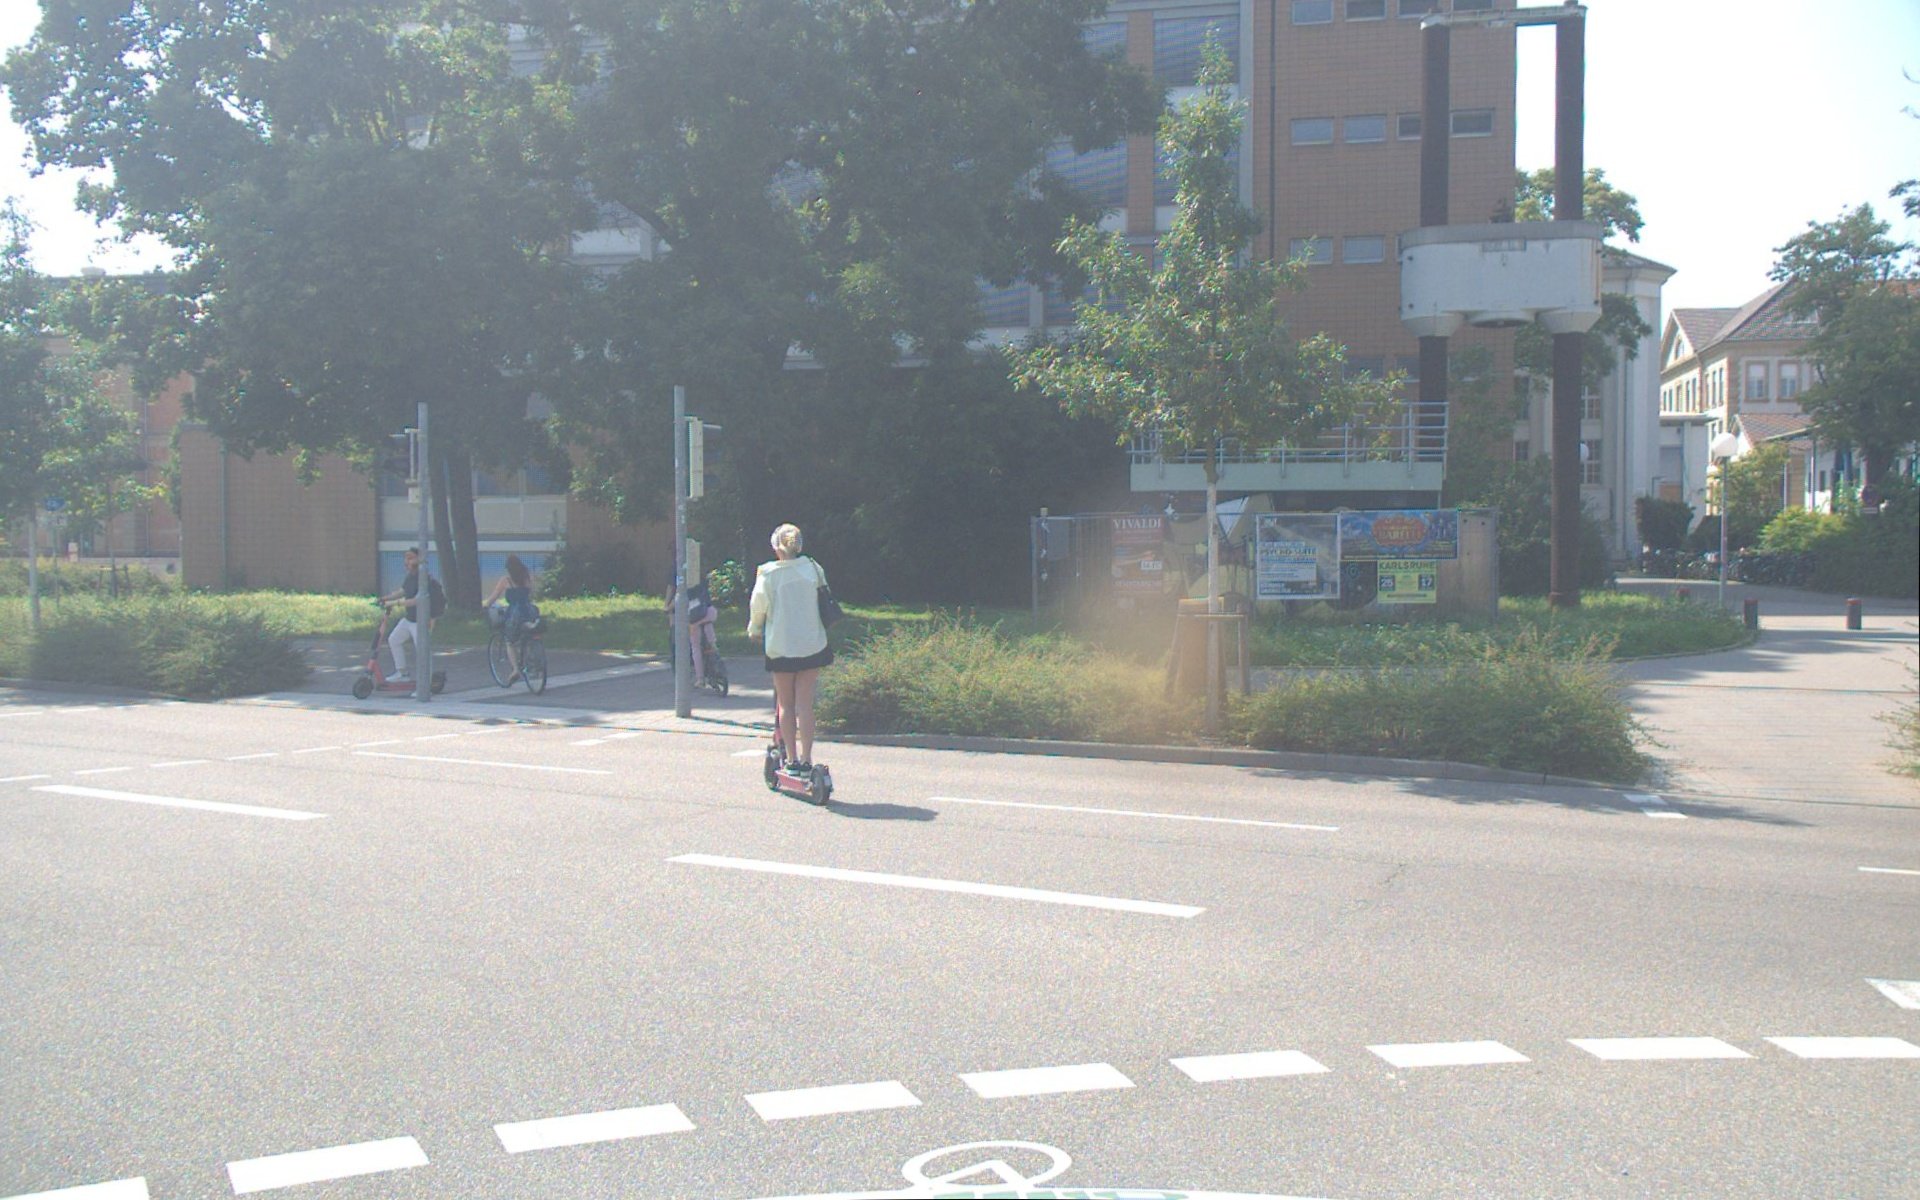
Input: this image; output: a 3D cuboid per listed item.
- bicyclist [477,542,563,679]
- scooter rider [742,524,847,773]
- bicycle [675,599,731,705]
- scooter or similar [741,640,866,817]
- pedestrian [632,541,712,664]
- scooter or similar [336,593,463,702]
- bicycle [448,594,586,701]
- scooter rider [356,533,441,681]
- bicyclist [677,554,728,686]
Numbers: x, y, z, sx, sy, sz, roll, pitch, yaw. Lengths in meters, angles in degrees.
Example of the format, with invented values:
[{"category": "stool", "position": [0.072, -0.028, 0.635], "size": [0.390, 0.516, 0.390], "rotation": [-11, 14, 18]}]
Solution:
[{"category": "bicyclist", "position": [-5.455, 0.107, 20.493], "size": [0.686, 1.626, 0.831], "rotation": [-4, 4, -41]}, {"category": "scooter rider", "position": [-1.194, 0.332, 11.871], "size": [0.659, 1.729, 0.537], "rotation": [-1, 0, -16]}, {"category": "bicycle", "position": [-3.083, 0.599, 19.934], "size": [0.546, 1.078, 2.002], "rotation": [-2, 3, -6]}, {"category": "scooter or similar", "position": [-1.140, 0.851, 11.679], "size": [0.547, 1.078, 1.996], "rotation": [0, 0, -15]}, {"category": "pedestrian", "position": [-4.194, 0.019, 24.100], "size": [0.860, 1.734, 0.707], "rotation": [1, 3, 30]}, {"category": "scooter or similar", "position": [-6.930, 0.570, 20.473], "size": [1.353, 1.255, 0.578], "rotation": [-2, 2, -37]}, {"category": "bicycle", "position": [-5.559, 0.562, 20.647], "size": [0.690, 1.174, 2.336], "rotation": [-3, 4, -41]}, {"category": "scooter rider", "position": [-6.928, 0.065, 20.397], "size": [0.796, 1.769, 0.680], "rotation": [-2, 2, -37]}, {"category": "bicyclist", "position": [-3.071, 0.224, 19.794], "size": [0.538, 1.522, 0.803], "rotation": [-1, 2, -6]}]
